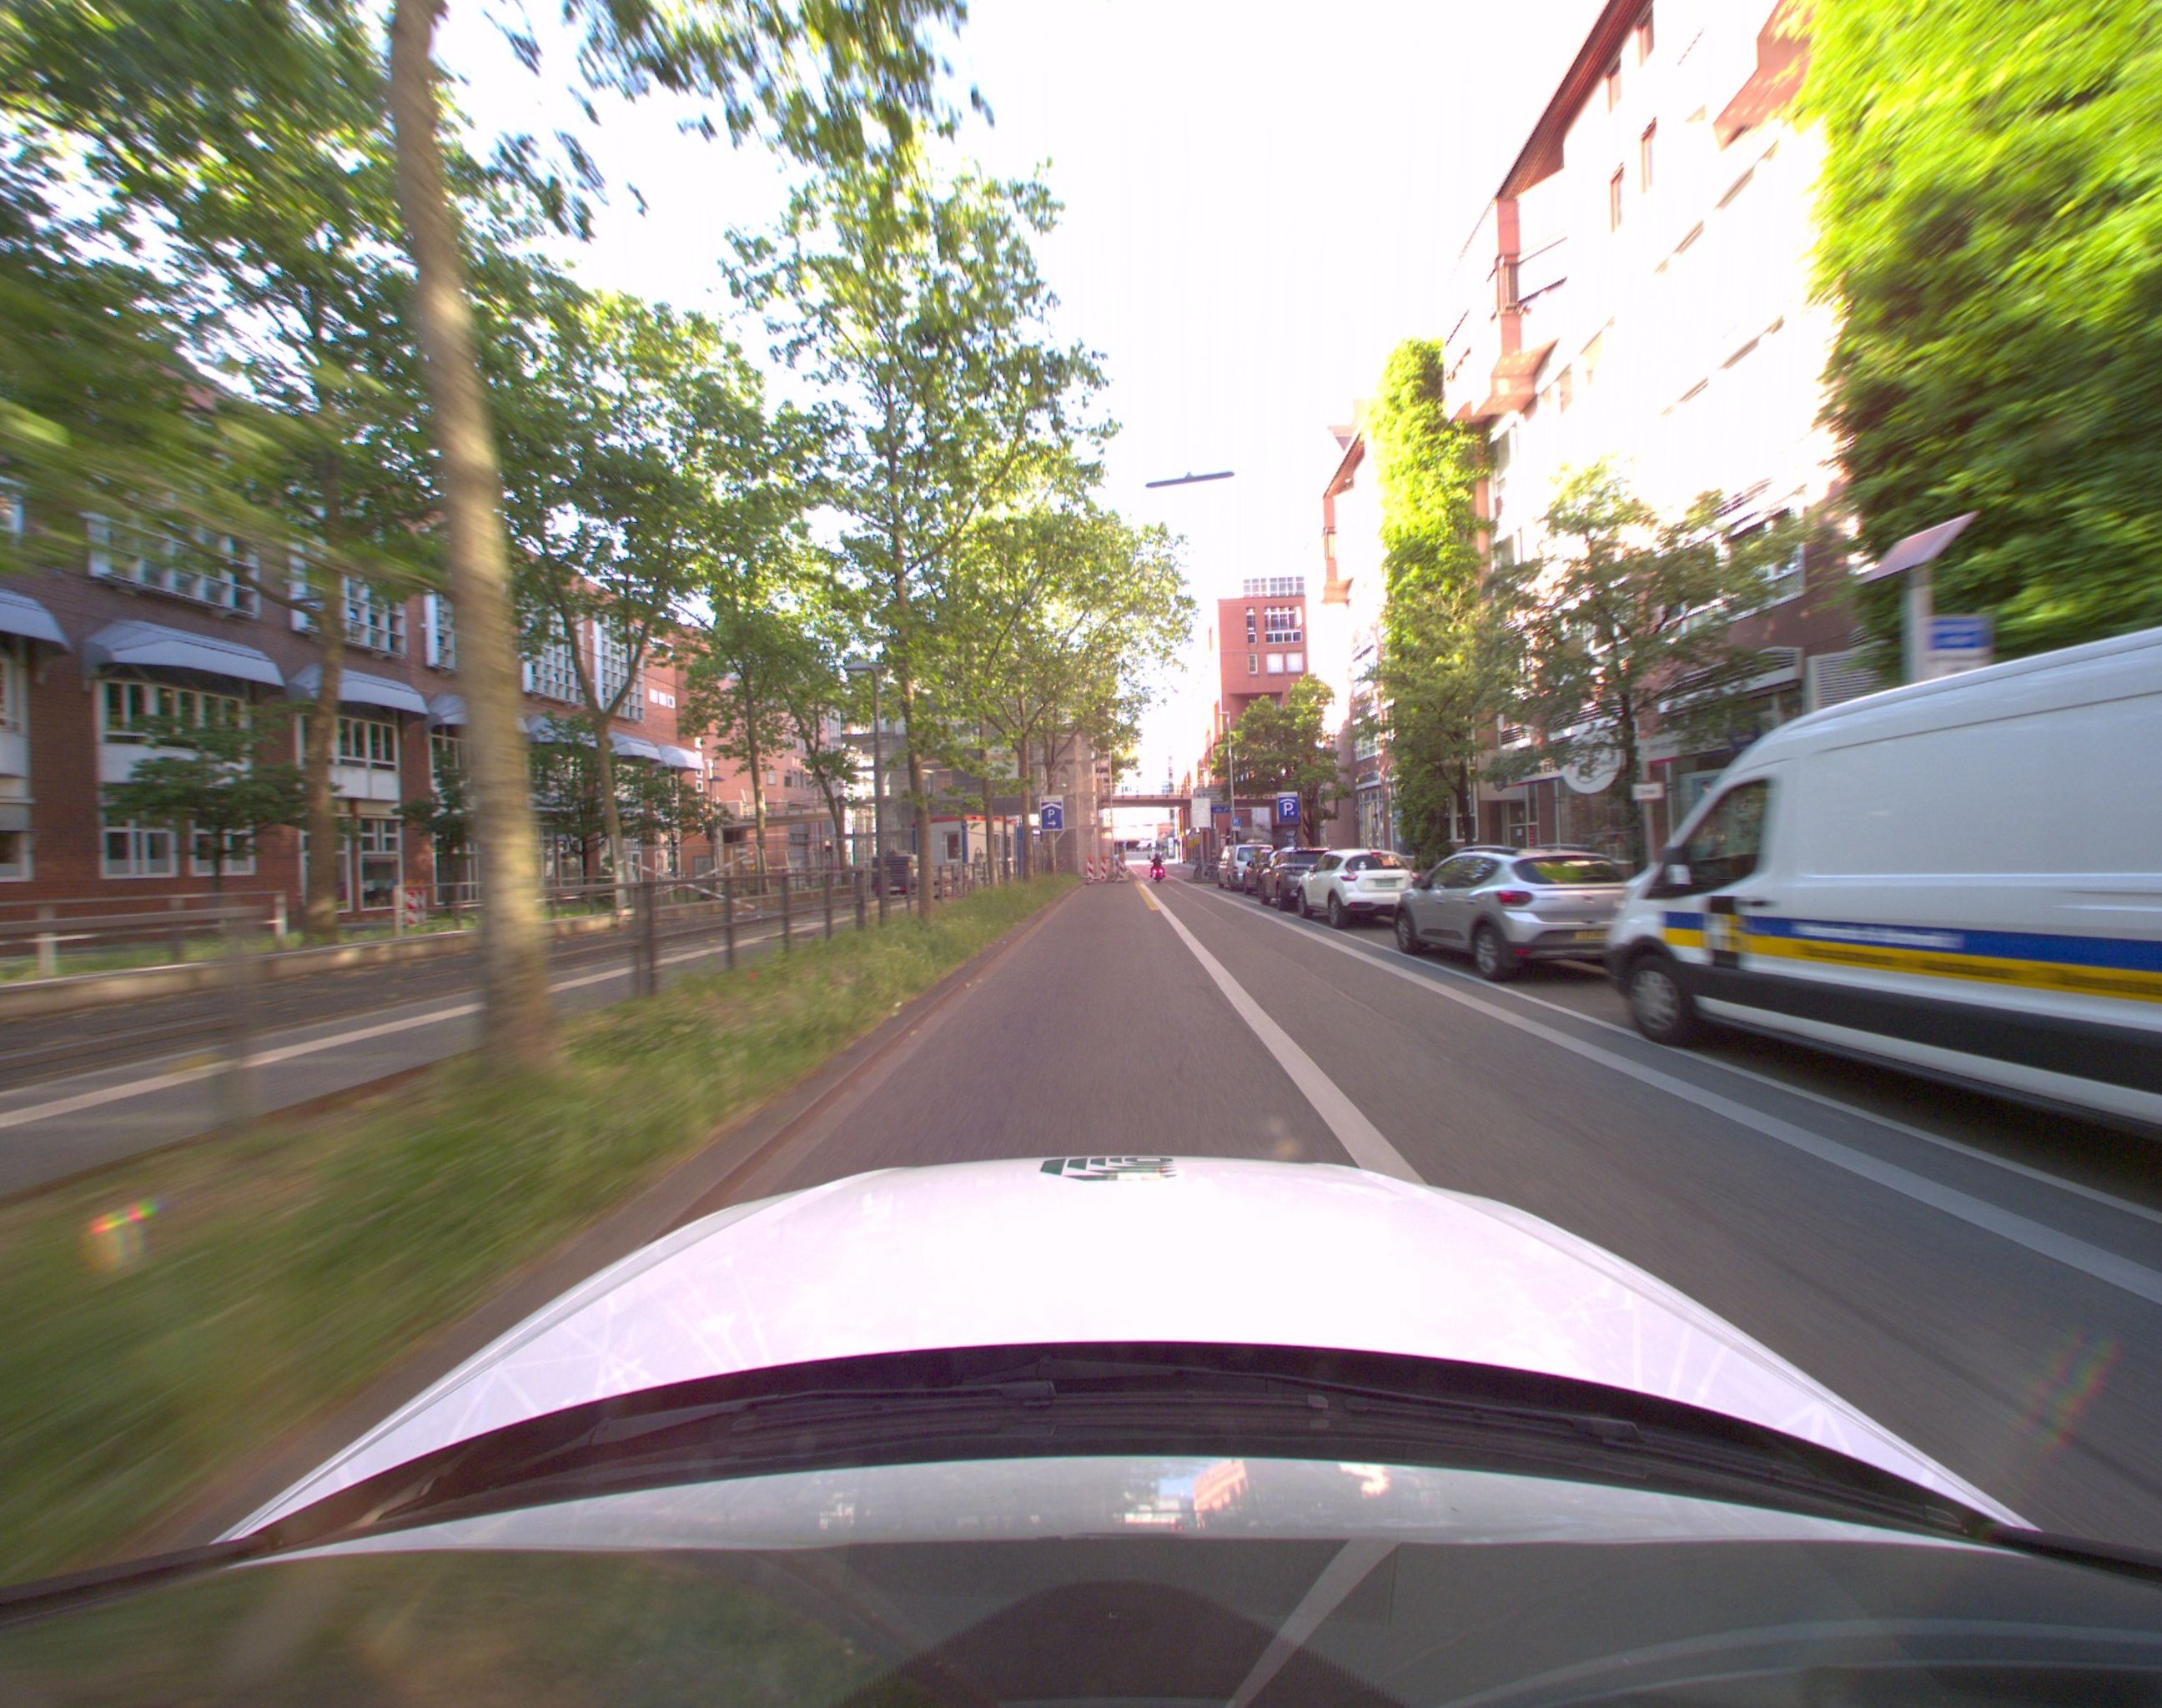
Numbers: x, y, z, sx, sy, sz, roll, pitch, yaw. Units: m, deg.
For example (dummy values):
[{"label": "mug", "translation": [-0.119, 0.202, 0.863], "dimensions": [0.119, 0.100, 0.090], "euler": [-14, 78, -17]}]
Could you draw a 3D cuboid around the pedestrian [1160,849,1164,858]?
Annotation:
[{"label": "pedestrian", "translation": [14.974, -0.055, 150.575], "dimensions": [0.544, 1.583, 0.550], "euler": [-2, 0, -41]}]

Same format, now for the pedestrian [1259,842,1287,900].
[{"label": "pedestrian", "translation": [6.113, 0.531, 25.990], "dimensions": [0.658, 1.812, 0.716], "euler": [-2, 0, 0]}]

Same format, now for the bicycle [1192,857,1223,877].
[{"label": "bicycle", "translation": [7.144, 0.730, 46.012], "dimensions": [1.661, 1.067, 0.504], "euler": [-1, 0, 36]}]

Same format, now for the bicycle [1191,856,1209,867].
[{"label": "bicycle", "translation": [13.249, 0.836, 90.869], "dimensions": [1.884, 1.119, 0.550], "euler": [-3, 0, 2]}]

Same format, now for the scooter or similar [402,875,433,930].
[{"label": "scooter or similar", "translation": [-21.218, 1.535, 26.068], "dimensions": [0.529, 1.726, 0.573], "euler": [0, -1, -6]}]

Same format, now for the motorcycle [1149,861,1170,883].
[{"label": "motorcycle", "translation": [4.293, 0.966, 44.929], "dimensions": [0.969, 1.132, 2.806], "euler": [-1, 0, 2]}]

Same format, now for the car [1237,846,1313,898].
[{"label": "car", "translation": [6.825, 0.580, 29.094], "dimensions": [1.781, 1.670, 4.201], "euler": [-2, 0, 2]}]

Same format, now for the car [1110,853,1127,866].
[{"label": "car", "translation": [4.567, 0.659, 99.729], "dimensions": [1.916, 1.388, 4.001], "euler": [-2, 0, 1]}]

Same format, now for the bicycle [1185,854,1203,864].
[{"label": "bicycle", "translation": [13.141, 0.605, 94.743], "dimensions": [1.884, 1.119, 0.475], "euler": [-3, 0, 2]}]

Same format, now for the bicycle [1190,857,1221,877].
[{"label": "bicycle", "translation": [6.887, 0.736, 45.129], "dimensions": [1.661, 1.067, 0.504], "euler": [-1, 0, 36]}]

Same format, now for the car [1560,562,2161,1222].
[{"label": "car", "translation": [5.299, 0.122, 4.387], "dimensions": [2.106, 2.565, 5.909], "euler": [-2, 0, 2]}]

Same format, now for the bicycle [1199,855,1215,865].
[{"label": "bicycle", "translation": [12.951, 0.603, 83.781], "dimensions": [1.604, 0.955, 0.555], "euler": [-5, 0, 3]}]

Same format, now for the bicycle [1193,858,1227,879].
[{"label": "bicycle", "translation": [6.770, 0.755, 42.892], "dimensions": [1.662, 1.067, 0.514], "euler": [-1, 0, 25]}]

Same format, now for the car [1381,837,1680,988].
[{"label": "car", "translation": [5.611, 0.629, 10.833], "dimensions": [1.821, 1.579, 4.002], "euler": [-2, 0, 2]}]

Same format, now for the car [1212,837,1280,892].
[{"label": "car", "translation": [6.870, 0.407, 34.478], "dimensions": [1.911, 2.078, 5.172], "euler": [-2, 0, 2]}]

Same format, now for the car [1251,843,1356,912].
[{"label": "car", "translation": [6.009, 0.583, 22.557], "dimensions": [1.781, 1.670, 4.442], "euler": [-2, 0, 2]}]

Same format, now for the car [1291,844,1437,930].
[{"label": "car", "translation": [5.889, 0.627, 17.478], "dimensions": [1.821, 1.579, 4.002], "euler": [-2, 0, 2]}]

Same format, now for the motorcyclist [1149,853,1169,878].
[{"label": "motorcyclist", "translation": [4.284, 0.618, 44.843], "dimensions": [0.967, 1.347, 1.138], "euler": [-1, 0, 1]}]

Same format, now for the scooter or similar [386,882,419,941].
[{"label": "scooter or similar", "translation": [-20.646, 1.738, 24.782], "dimensions": [0.529, 1.726, 0.573], "euler": [0, -1, -6]}]
